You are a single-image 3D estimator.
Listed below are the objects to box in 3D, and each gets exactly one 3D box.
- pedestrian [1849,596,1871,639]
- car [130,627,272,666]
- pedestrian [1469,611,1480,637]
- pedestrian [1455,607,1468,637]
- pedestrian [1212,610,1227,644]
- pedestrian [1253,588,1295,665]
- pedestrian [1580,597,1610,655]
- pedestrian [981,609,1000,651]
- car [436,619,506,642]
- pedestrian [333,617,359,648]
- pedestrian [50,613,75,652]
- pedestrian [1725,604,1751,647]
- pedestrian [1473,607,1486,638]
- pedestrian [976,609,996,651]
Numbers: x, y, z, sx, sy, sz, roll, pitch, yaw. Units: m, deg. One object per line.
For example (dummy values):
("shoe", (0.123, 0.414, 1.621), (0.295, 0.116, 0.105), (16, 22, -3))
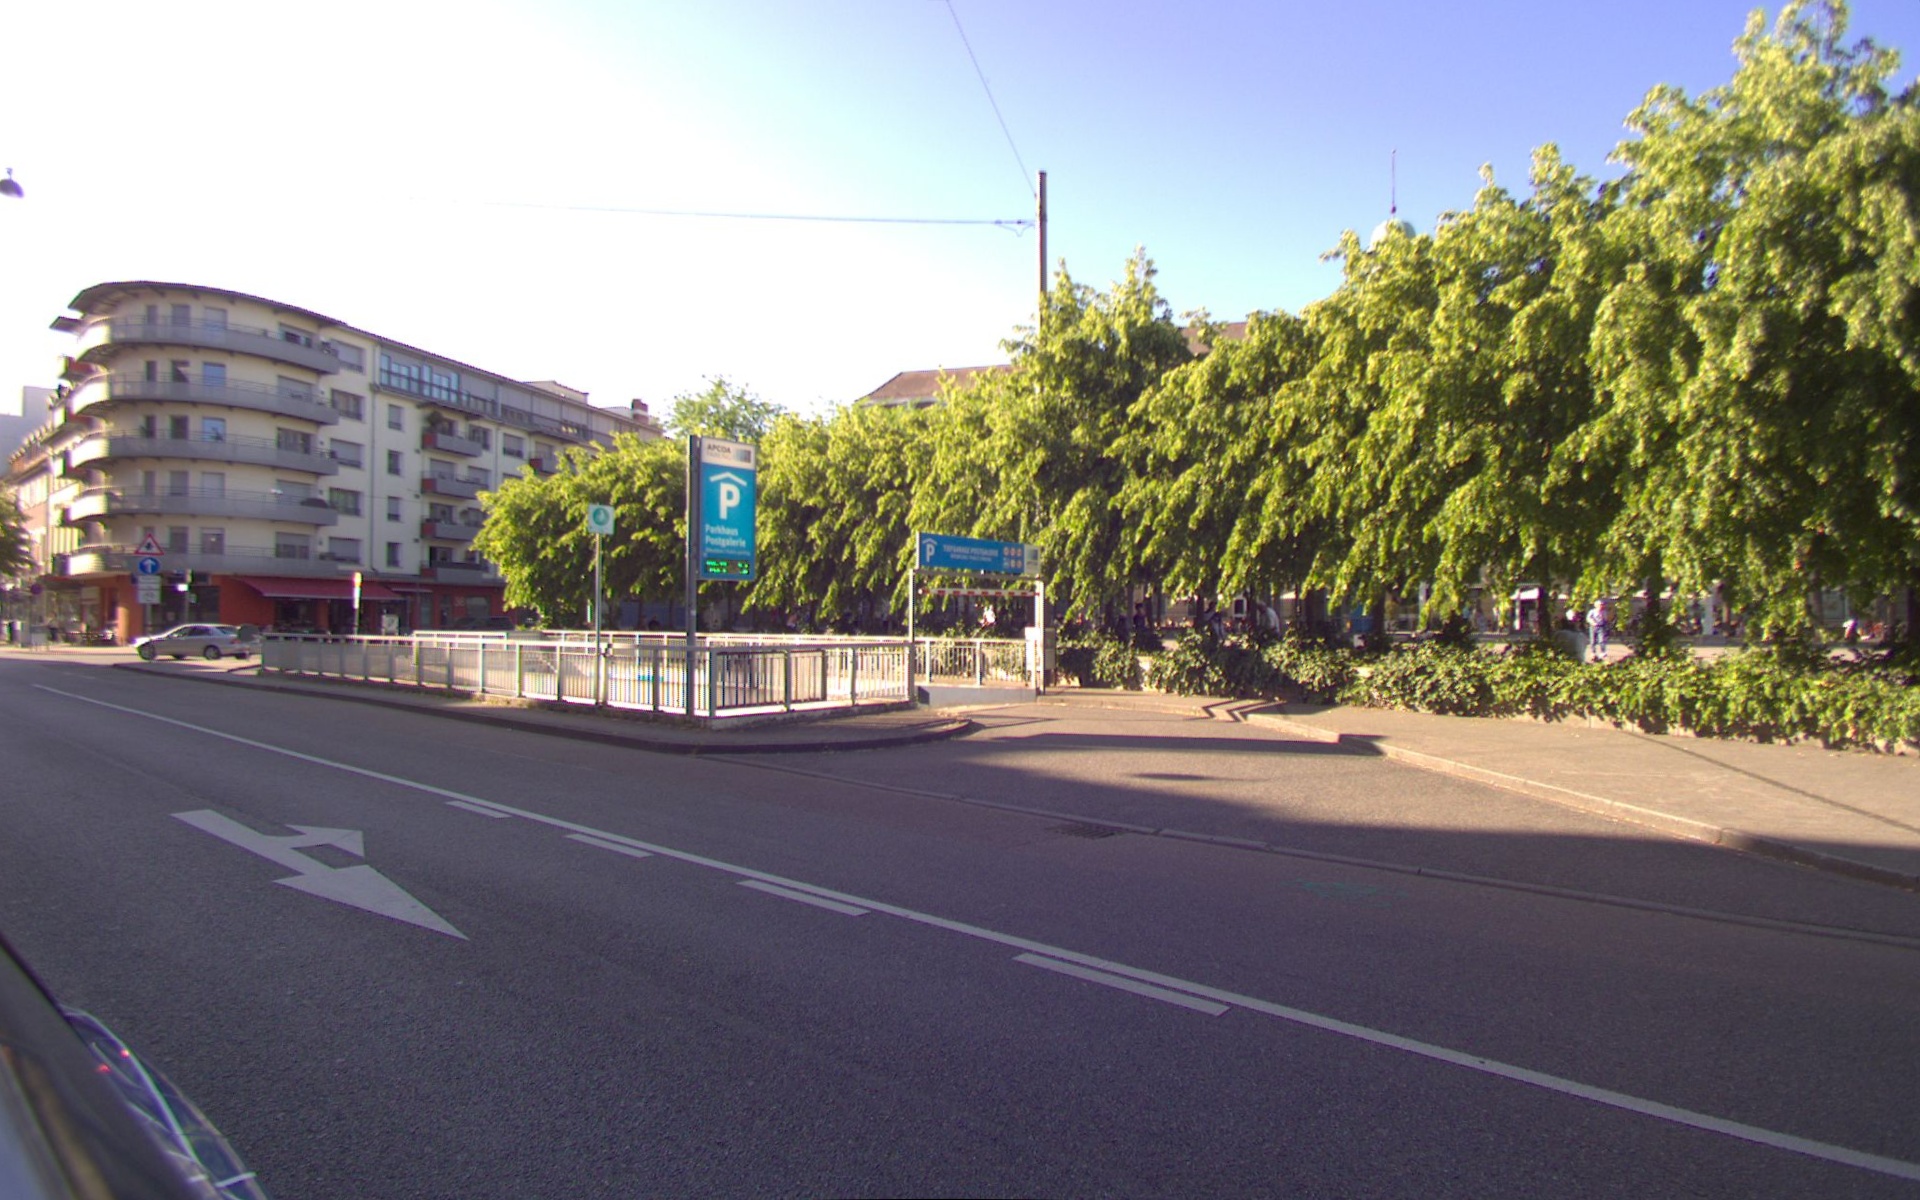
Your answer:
("pedestrian", (41.709, 0.820, 46.915), (0.676, 1.963, 0.632), (-1, 0, 38))
("car", (-29.897, 1.819, 39.944), (4.207, 1.363, 1.824), (2, -2, 2))
("pedestrian", (30.297, 1.385, 59.625), (0.537, 1.512, 0.547), (-1, 0, 29))
("pedestrian", (29.669, 1.291, 59.894), (0.643, 1.734, 0.603), (-1, 0, 26))
("pedestrian", (13.460, 1.413, 52.529), (0.606, 1.734, 0.640), (-1, 0, 31))
("pedestrian", (6.983, 0.577, 22.517), (0.645, 1.661, 0.626), (-1, 0, -35))
("pedestrian", (19.074, 0.777, 30.396), (0.643, 1.734, 0.604), (-1, 0, 22))
("pedestrian", (1.297, 1.275, 42.991), (0.604, 1.734, 0.642), (-1, 0, 21))
("car", (-30.507, 1.892, 63.213), (1.742, 1.311, 3.977), (-1, -1, 17))
("pedestrian", (-33.018, 1.752, 54.459), (0.877, 1.607, 0.861), (-1, 0, 2))
("pedestrian", (-46.785, 1.677, 52.772), (0.888, 2.029, 0.850), (-1, 0, 40))
("pedestrian", (31.526, 1.040, 41.032), (0.641, 1.734, 0.605), (-1, 0, 18))
("pedestrian", (30.095, 1.297, 58.646), (0.643, 1.734, 0.603), (-1, 0, 26))
("pedestrian", (1.091, 1.249, 42.309), (0.604, 1.734, 0.642), (-1, 0, 21))
